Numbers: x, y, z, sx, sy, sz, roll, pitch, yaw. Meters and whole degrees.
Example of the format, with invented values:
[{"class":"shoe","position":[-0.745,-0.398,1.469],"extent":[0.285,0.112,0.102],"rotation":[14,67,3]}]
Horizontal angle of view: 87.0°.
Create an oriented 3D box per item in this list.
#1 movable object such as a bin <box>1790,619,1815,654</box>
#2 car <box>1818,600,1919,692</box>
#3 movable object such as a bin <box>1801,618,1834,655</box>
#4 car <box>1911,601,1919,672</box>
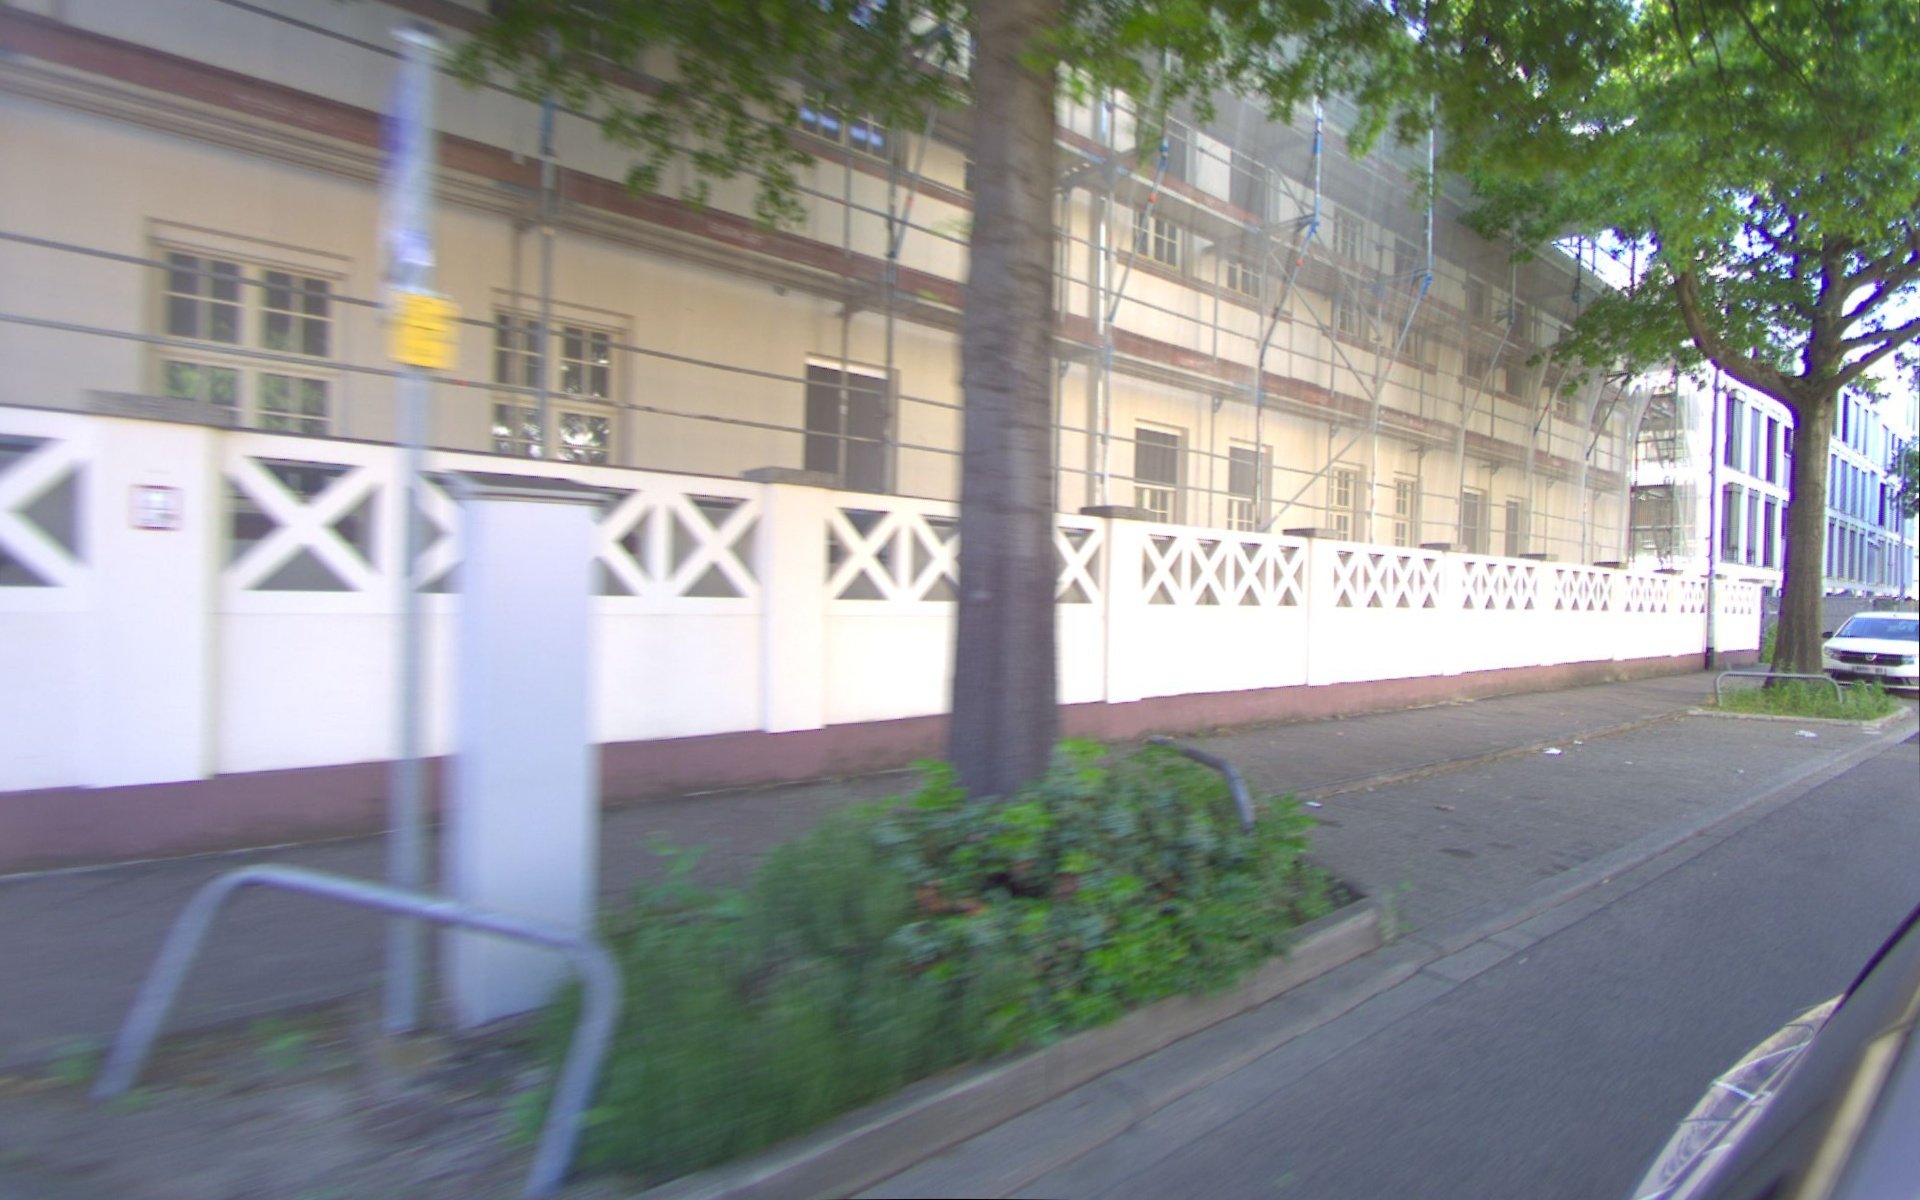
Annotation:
[{"class":"movable object such as a bin","position":[24.092,1.043,28.938],"extent":[0.501,0.976,0.435],"rotation":[1,-1,-36]},{"class":"car","position":[17.798,0.830,19.010],"extent":[3.918,1.529,1.729],"rotation":[1,2,-37]},{"class":"movable object such as a bin","position":[24.657,1.033,29.112],"extent":[0.553,1.040,0.599],"rotation":[1,-1,-37]},{"class":"car","position":[24.411,0.886,24.479],"extent":[4.229,1.659,1.714],"rotation":[1,1,-42]}]
